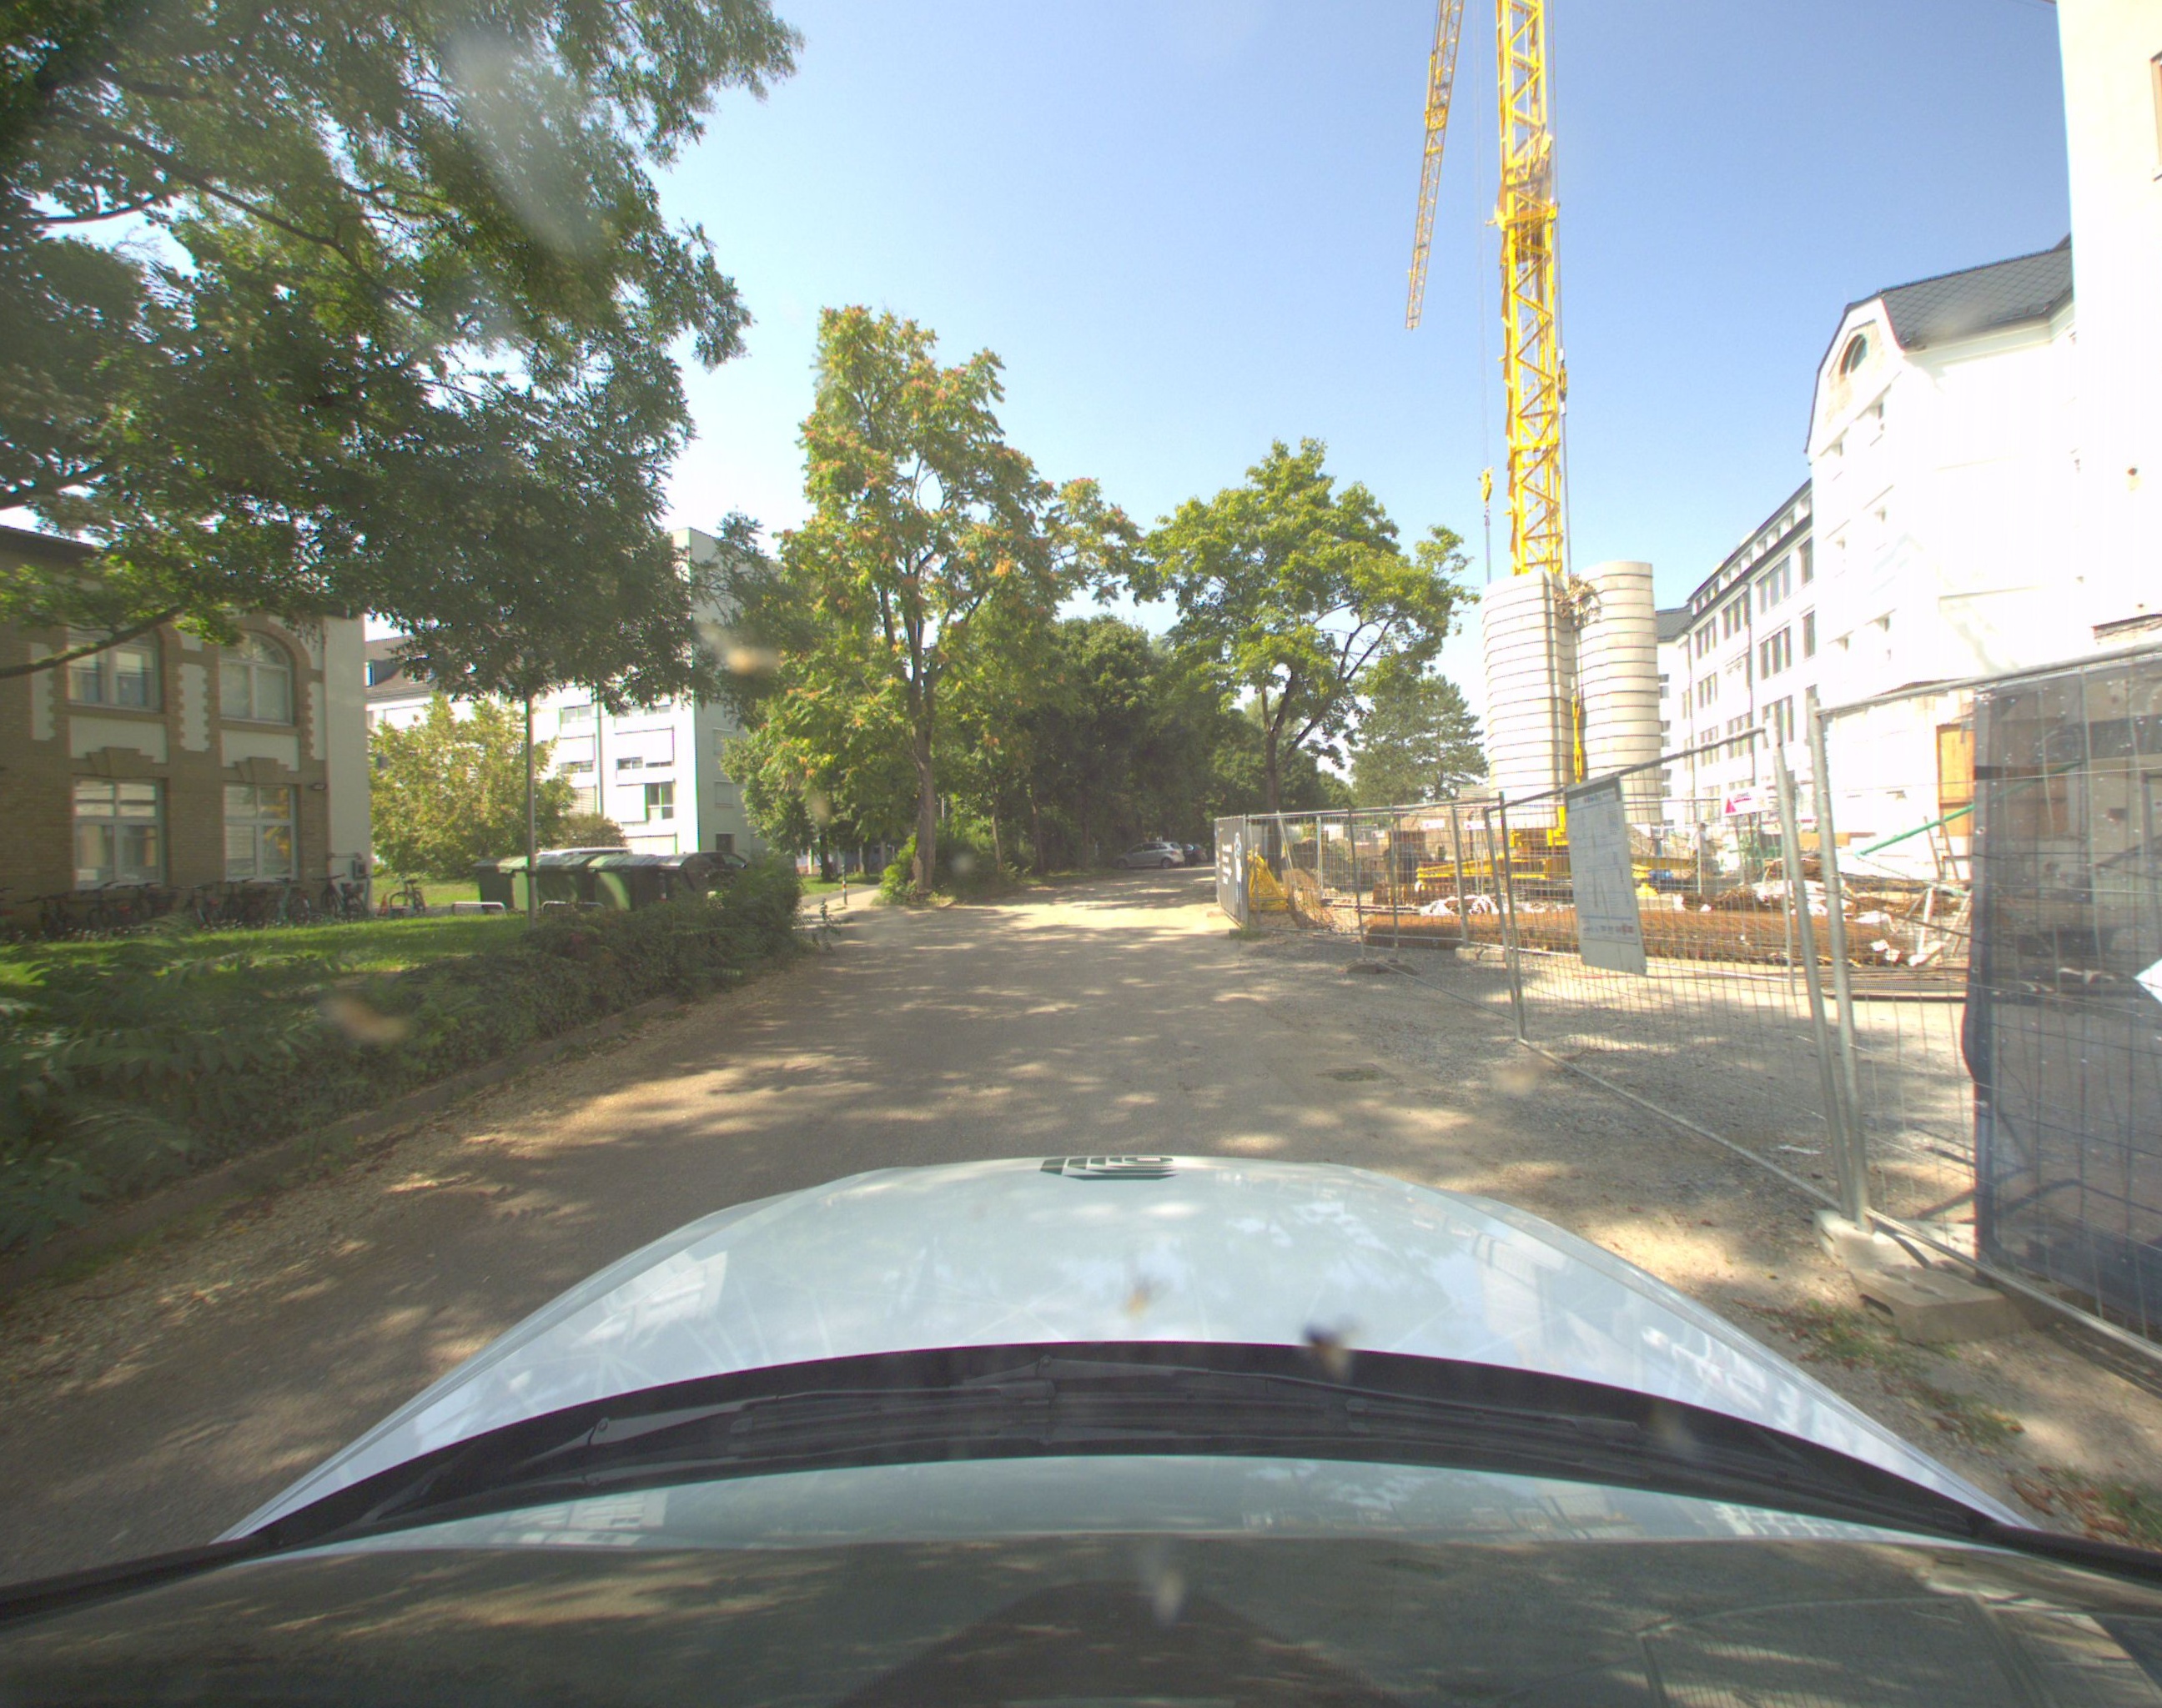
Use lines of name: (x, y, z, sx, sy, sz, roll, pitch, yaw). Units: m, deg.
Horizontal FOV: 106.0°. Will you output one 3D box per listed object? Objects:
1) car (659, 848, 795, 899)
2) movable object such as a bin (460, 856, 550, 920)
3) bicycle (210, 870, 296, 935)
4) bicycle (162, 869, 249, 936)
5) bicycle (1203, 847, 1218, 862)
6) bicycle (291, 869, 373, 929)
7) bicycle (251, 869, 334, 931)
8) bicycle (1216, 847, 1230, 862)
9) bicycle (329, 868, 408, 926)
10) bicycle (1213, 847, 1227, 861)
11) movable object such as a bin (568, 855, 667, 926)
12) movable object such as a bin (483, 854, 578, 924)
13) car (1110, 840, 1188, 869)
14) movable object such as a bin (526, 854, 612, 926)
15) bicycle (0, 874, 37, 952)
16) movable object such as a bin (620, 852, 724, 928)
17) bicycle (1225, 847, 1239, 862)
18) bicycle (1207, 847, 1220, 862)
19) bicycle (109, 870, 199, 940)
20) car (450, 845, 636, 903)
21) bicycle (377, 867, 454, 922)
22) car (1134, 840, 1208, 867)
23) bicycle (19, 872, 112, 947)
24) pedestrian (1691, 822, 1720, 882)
car: (-11.786, 0.614, 27.372, 1.685, 1.528, 3.937, -1, 0, 29)
movable object such as a bin: (-13.696, 0.780, 19.382, 1.193, 1.444, 1.255, -1, 0, 17)
bicycle: (-17.657, 1.027, 17.353, 2.146, 1.302, 0.613, -2, 0, 26)
bicycle: (-18.048, 0.988, 16.777, 2.146, 1.302, 0.613, -2, 0, 26)
bicycle: (10.062, 0.049, 63.224, 0.494, 1.107, 1.811, -1, 1, 28)
bicycle: (-17.168, 1.033, 18.652, 2.146, 1.302, 0.613, -2, 0, 26)
bicycle: (-17.454, 1.020, 18.020, 2.146, 1.302, 0.613, -2, 0, 26)
bicycle: (11.020, 0.043, 63.097, 0.494, 1.107, 1.811, -1, 1, 28)
bicycle: (-16.873, 1.024, 19.273, 2.146, 1.302, 0.613, -2, 0, 26)
bicycle: (11.124, 0.007, 65.109, 0.494, 1.107, 1.811, -1, 1, 28)
movable object such as a bin: (-9.861, 0.758, 17.379, 1.317, 1.431, 1.255, -1, 0, 16)
movable object such as a bin: (-12.324, 0.752, 18.267, 1.193, 1.495, 1.255, -1, 0, 17)
car: (3.990, 0.011, 48.058, 4.110, 1.612, 2.012, -1, 1, 24)
movable object such as a bin: (-11.069, 0.753, 17.628, 1.089, 1.481, 1.106, -1, 0, 17)
bicycle: (-19.093, 1.030, 14.225, 2.146, 1.302, 0.613, -2, 0, 26)
movable object such as a bin: (-8.401, 0.713, 16.786, 1.360, 1.493, 1.339, -1, 0, 9)
bicycle: (11.610, 0.012, 62.445, 0.494, 1.107, 1.811, -1, 1, 28)
bicycle: (10.625, 0.026, 65.309, 0.494, 1.107, 1.811, -1, 1, 28)
bicycle: (-18.245, 0.994, 16.022, 2.146, 1.302, 0.613, -2, 0, 26)
car: (-19.526, 0.682, 29.863, 2.471, 1.881, 5.115, -1, 0, 26)
bicycle: (-16.543, 1.012, 20.224, 2.146, 1.302, 0.613, -2, 0, 26)
car: (5.546, -0.049, 50.304, 4.110, 1.612, 2.012, -1, 1, 24)
bicycle: (-18.756, 1.012, 15.033, 2.146, 1.302, 0.613, -2, 0, 26)
pedestrian: (16.313, -0.052, 21.293, 0.517, 1.528, 0.498, -1, 0, 31)
